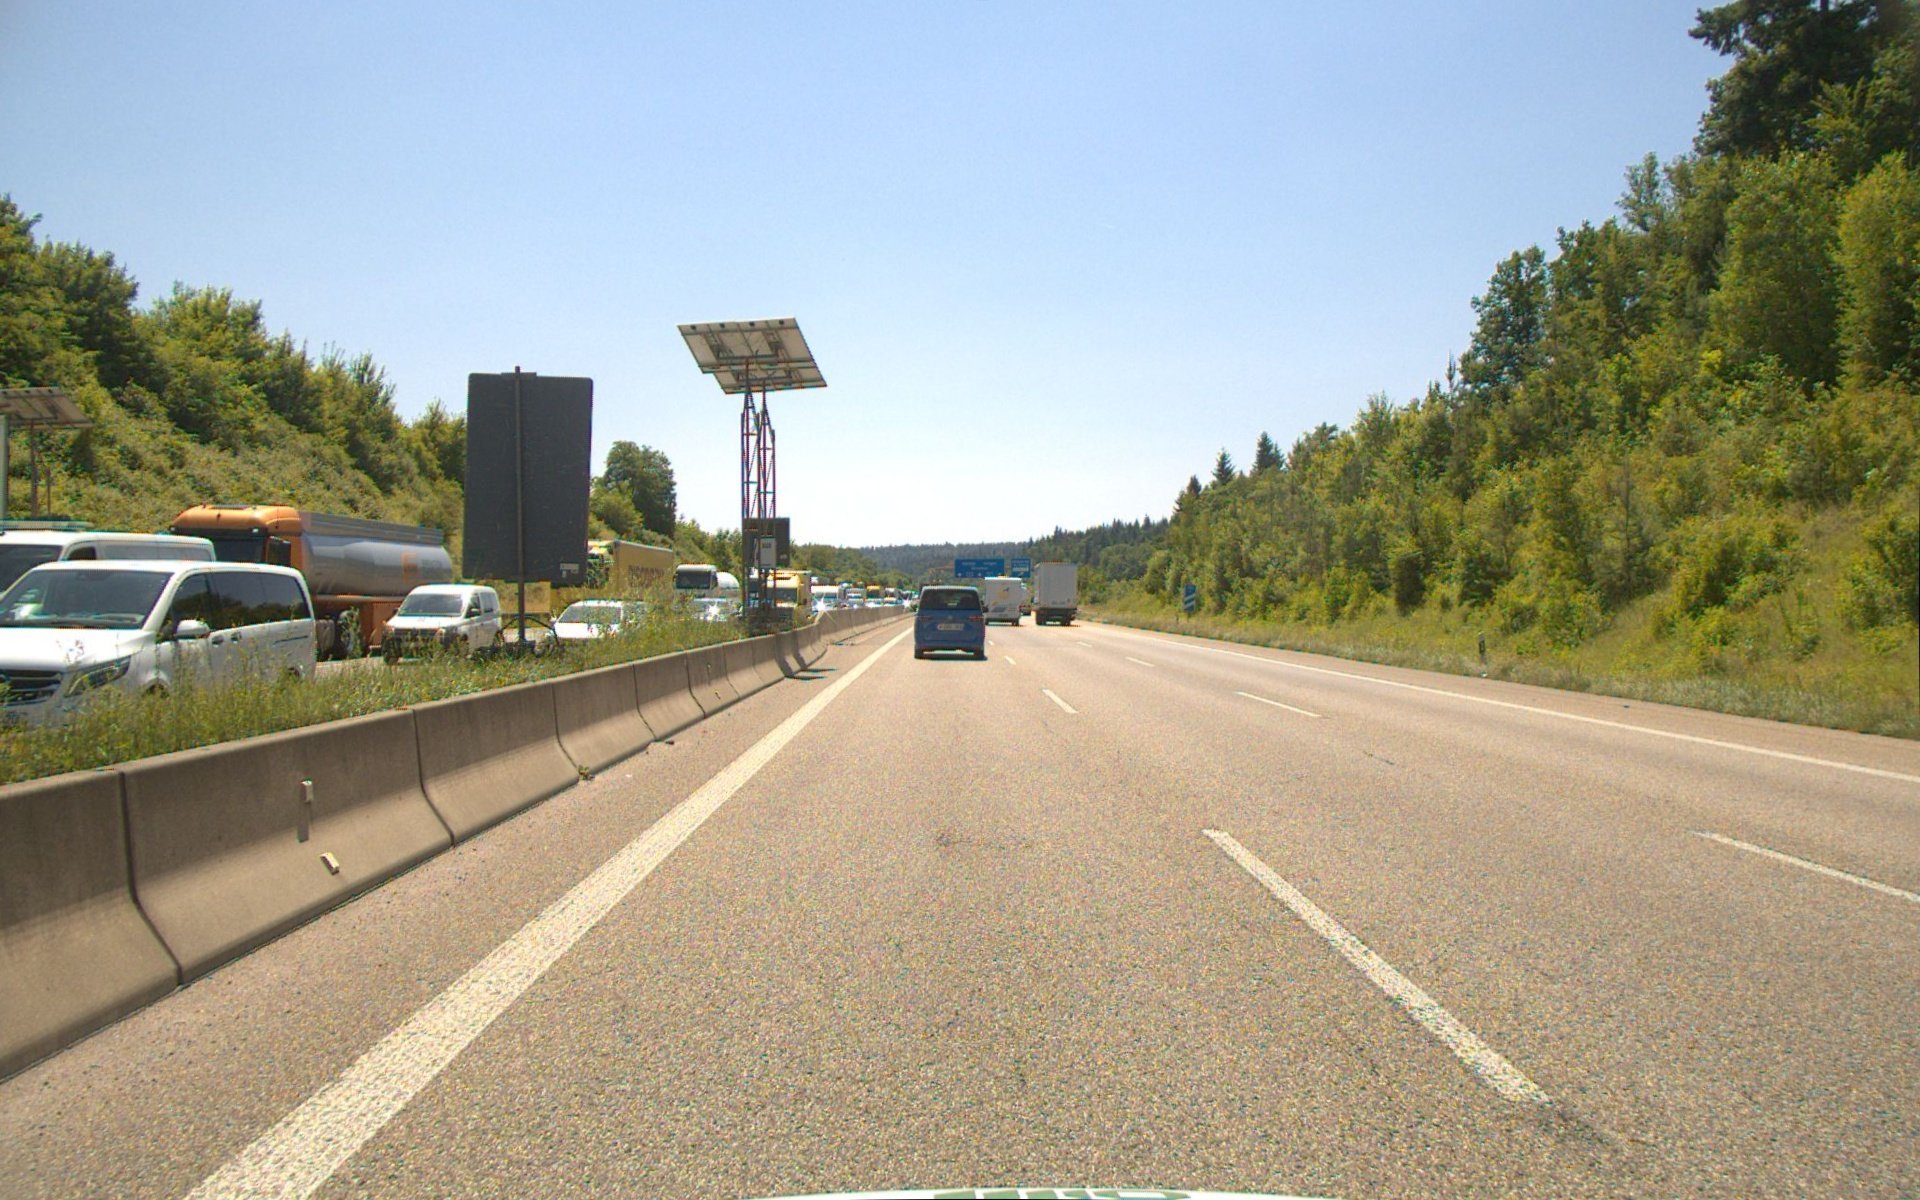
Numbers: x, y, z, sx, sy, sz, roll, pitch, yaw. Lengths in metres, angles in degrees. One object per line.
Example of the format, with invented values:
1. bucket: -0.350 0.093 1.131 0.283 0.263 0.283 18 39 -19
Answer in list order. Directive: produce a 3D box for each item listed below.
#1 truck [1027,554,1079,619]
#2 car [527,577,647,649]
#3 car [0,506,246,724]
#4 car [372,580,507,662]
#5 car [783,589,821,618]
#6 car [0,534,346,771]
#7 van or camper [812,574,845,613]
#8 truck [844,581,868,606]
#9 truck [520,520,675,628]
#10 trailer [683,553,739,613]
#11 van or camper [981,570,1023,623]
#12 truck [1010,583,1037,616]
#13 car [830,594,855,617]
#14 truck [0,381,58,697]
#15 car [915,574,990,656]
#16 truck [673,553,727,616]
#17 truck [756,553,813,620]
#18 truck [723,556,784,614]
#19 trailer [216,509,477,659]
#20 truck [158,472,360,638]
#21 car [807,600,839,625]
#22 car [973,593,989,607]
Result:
1. truck: 6.243 -0.864 112.617 2.727 4.201 9.737 1 0 -1
2. car: -8.460 0.297 37.887 1.791 1.523 4.757 1 0 -2
3. car: -11.817 0.171 21.705 2.140 2.426 6.539 1 0 -1
4. car: -12.152 0.480 38.922 1.791 1.793 4.757 1 0 -2
5. car: -8.664 0.227 90.917 1.791 1.523 4.757 1 0 -2
6. car: -8.234 0.459 16.966 1.789 2.012 5.664 1 0 -1
7. van or camper: -9.945 -0.431 125.507 2.206 2.824 7.214 1 0 -2
8. truck: -12.609 -0.784 200.474 2.516 2.895 6.751 1 0 -1
9. truck: -16.914 -1.050 79.027 3.621 4.534 17.378 1 0 0
10. trailer: -16.727 -1.140 111.580 2.558 3.798 10.676 1 0 -3
11. van or camper: 2.707 -0.282 107.751 2.549 3.132 7.184 1 2 1
12. truck: 7.167 -0.082 188.530 2.867 3.637 8.528 -1 1 1
13. car: -9.732 0.458 137.253 1.790 1.795 4.989 1 0 -1
14. truck: -15.523 -0.957 16.455 3.621 4.534 17.378 1 0 0
15. car: -0.224 0.370 44.527 1.870 2.049 3.999 2 0 -1
16. truck: -16.450 -0.948 105.098 2.624 3.809 5.869 1 -1 -2
17. truck: -8.431 -0.583 80.102 2.222 3.069 6.773 1 0 -2
18. truck: -17.338 -1.156 140.378 3.622 4.534 16.667 1 0 -2
19. trailer: -15.736 -0.161 43.688 2.525 3.352 11.692 1 -2 -1
20. truck: -15.642 -0.948 37.301 2.443 3.424 5.184 1 0 -2
21. car: -8.615 0.804 104.408 1.791 1.523 4.757 1 0 -2
22. car: 2.428 -0.018 189.913 1.744 1.512 3.999 0 0 -1
